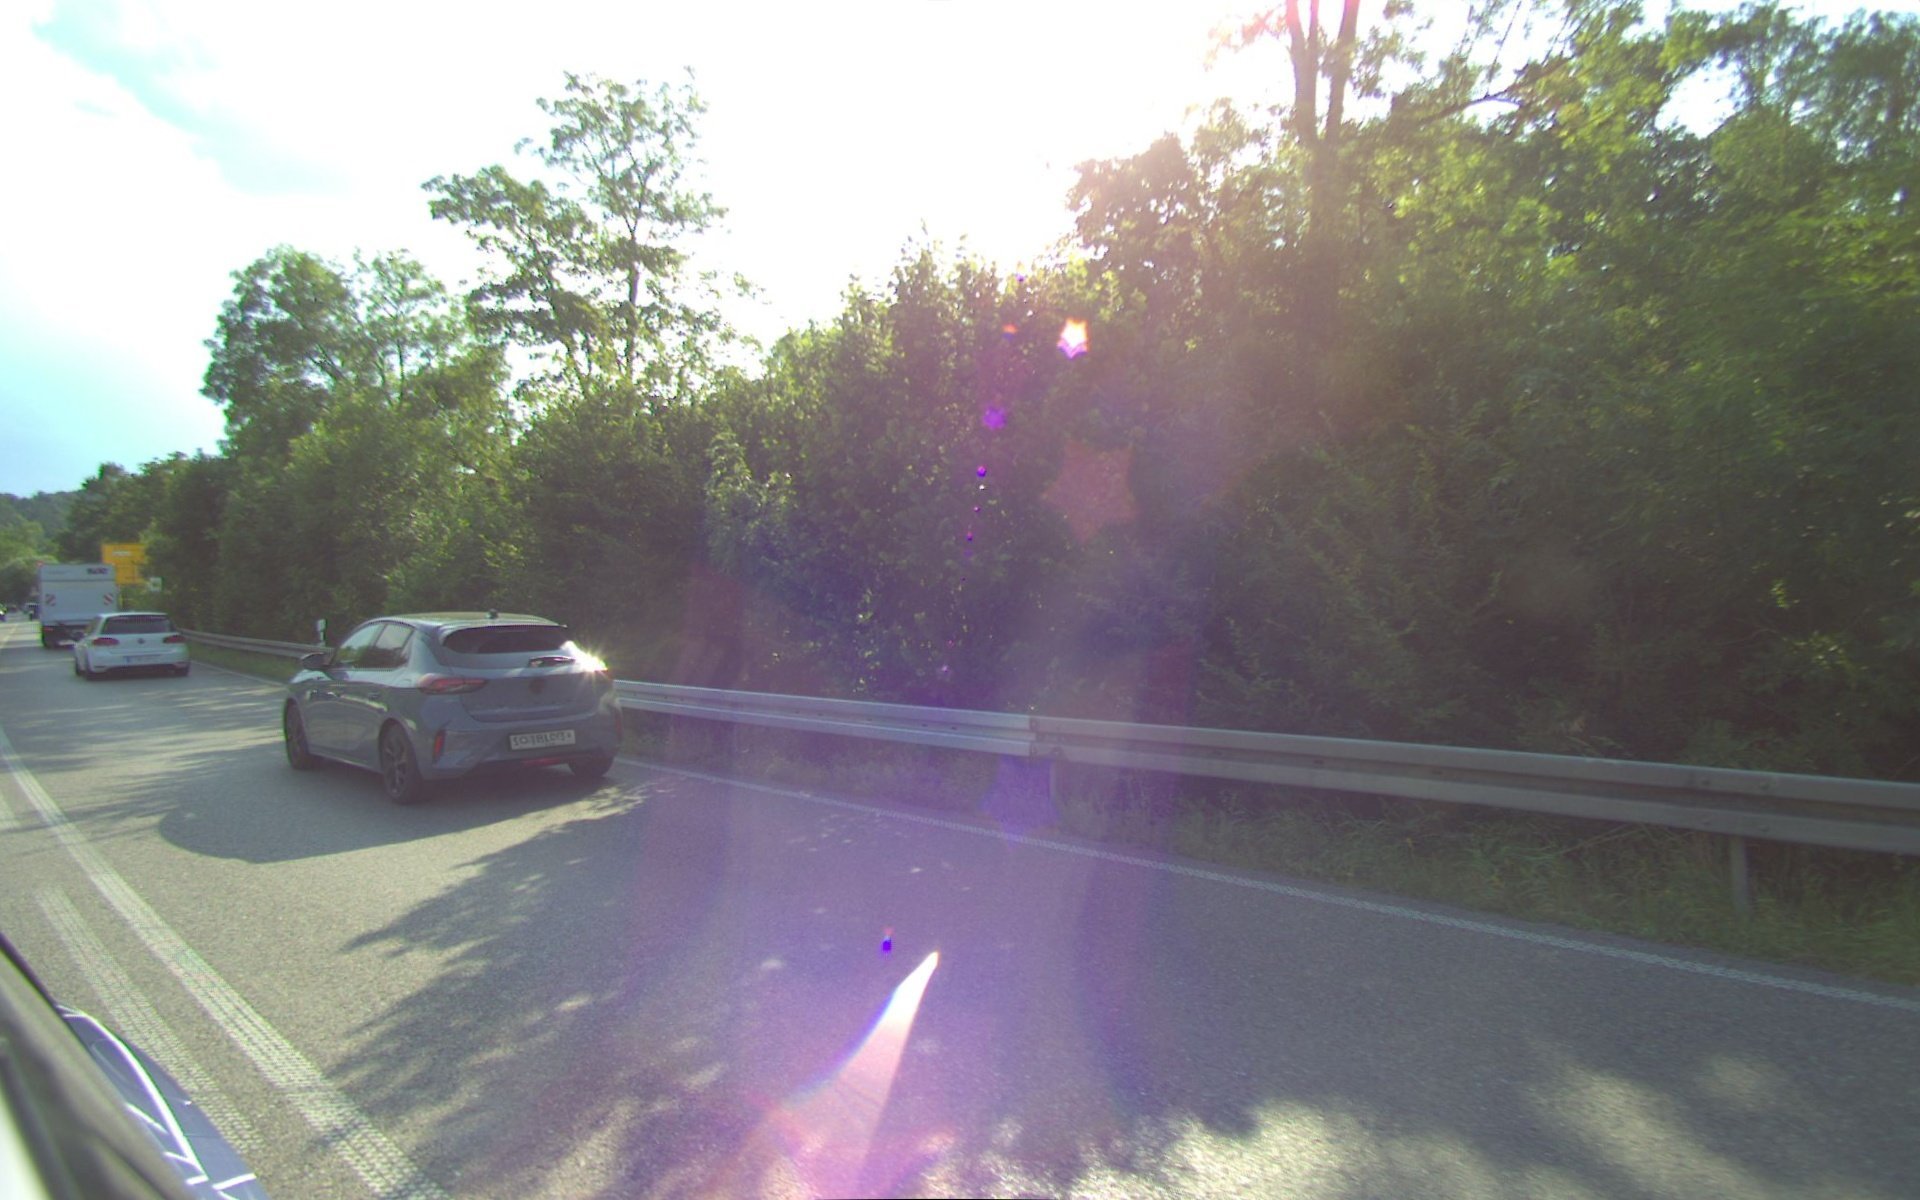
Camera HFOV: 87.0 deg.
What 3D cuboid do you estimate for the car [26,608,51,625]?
[{"bbox_3d":[-92.159,1.675,101.181,1.771,1.644,4.261,-1,0,-43],"label":"car"}]

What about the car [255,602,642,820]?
[{"bbox_3d":[-4.561,0.778,8.773,3.919,1.456,1.643,-1,0,41],"label":"car"}]

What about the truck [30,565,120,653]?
[{"bbox_3d":[-33.888,0.344,38.801,2.426,3.096,6.273,0,0,-41],"label":"truck"}]

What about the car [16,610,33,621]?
[{"bbox_3d":[-141.212,2.343,152.781,1.771,1.644,4.261,-3,2,-43],"label":"car"}]

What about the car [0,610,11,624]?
[{"bbox_3d":[-100.660,1.788,105.993,1.869,1.456,4.480,-1,0,-43],"label":"car"}]

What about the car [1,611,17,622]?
[{"bbox_3d":[-155.193,2.666,165.147,1.771,1.644,4.261,-3,2,-43],"label":"car"}]

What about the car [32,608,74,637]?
[{"bbox_3d":[-54.842,1.364,61.142,1.771,1.644,4.261,-1,0,-43],"label":"car"}]

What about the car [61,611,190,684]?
[{"bbox_3d":[-18.569,0.990,22.469,3.795,1.456,1.772,-1,0,44],"label":"car"}]

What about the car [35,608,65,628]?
[{"bbox_3d":[-78.841,1.557,87.669,1.771,1.644,4.261,-1,0,-43],"label":"car"}]
